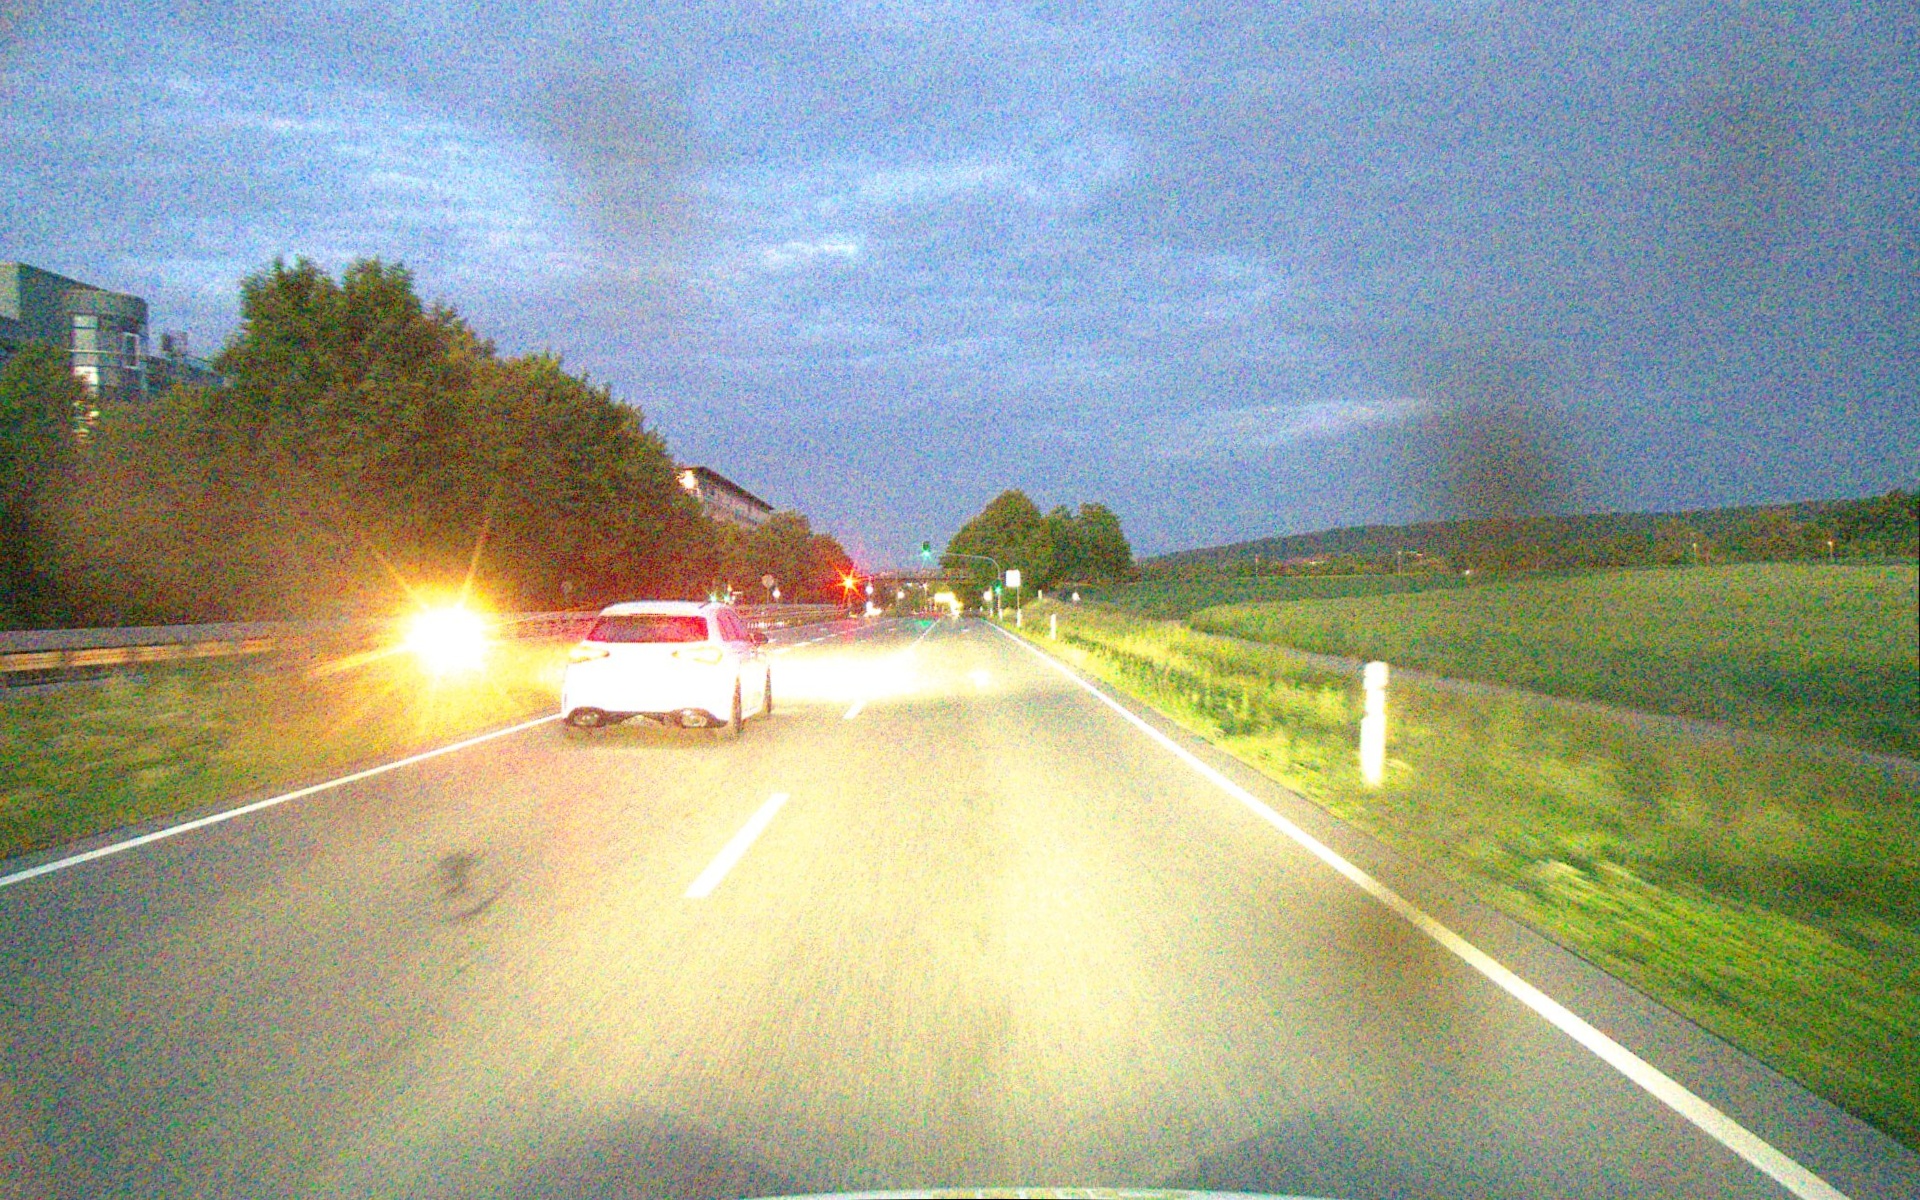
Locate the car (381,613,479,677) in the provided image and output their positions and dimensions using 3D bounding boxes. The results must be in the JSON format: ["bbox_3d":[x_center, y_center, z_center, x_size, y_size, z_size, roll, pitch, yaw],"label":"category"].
[{"bbox_3d":[-15.712,1.300,49.181,1.635,1.789,4.000,0,0,0],"label":"car"}]

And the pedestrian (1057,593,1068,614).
[{"bbox_3d":[9.032,0.286,145.388,0.903,1.824,1.106,0,0,0],"label":"pedestrian"}]

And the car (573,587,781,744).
[{"bbox_3d":[-3.005,0.628,18.402,1.608,1.516,4.579,0,0,-1],"label":"car"}]

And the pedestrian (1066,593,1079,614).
[{"bbox_3d":[9.868,0.305,145.448,1.068,1.753,1.260,0,0,-1],"label":"pedestrian"}]
